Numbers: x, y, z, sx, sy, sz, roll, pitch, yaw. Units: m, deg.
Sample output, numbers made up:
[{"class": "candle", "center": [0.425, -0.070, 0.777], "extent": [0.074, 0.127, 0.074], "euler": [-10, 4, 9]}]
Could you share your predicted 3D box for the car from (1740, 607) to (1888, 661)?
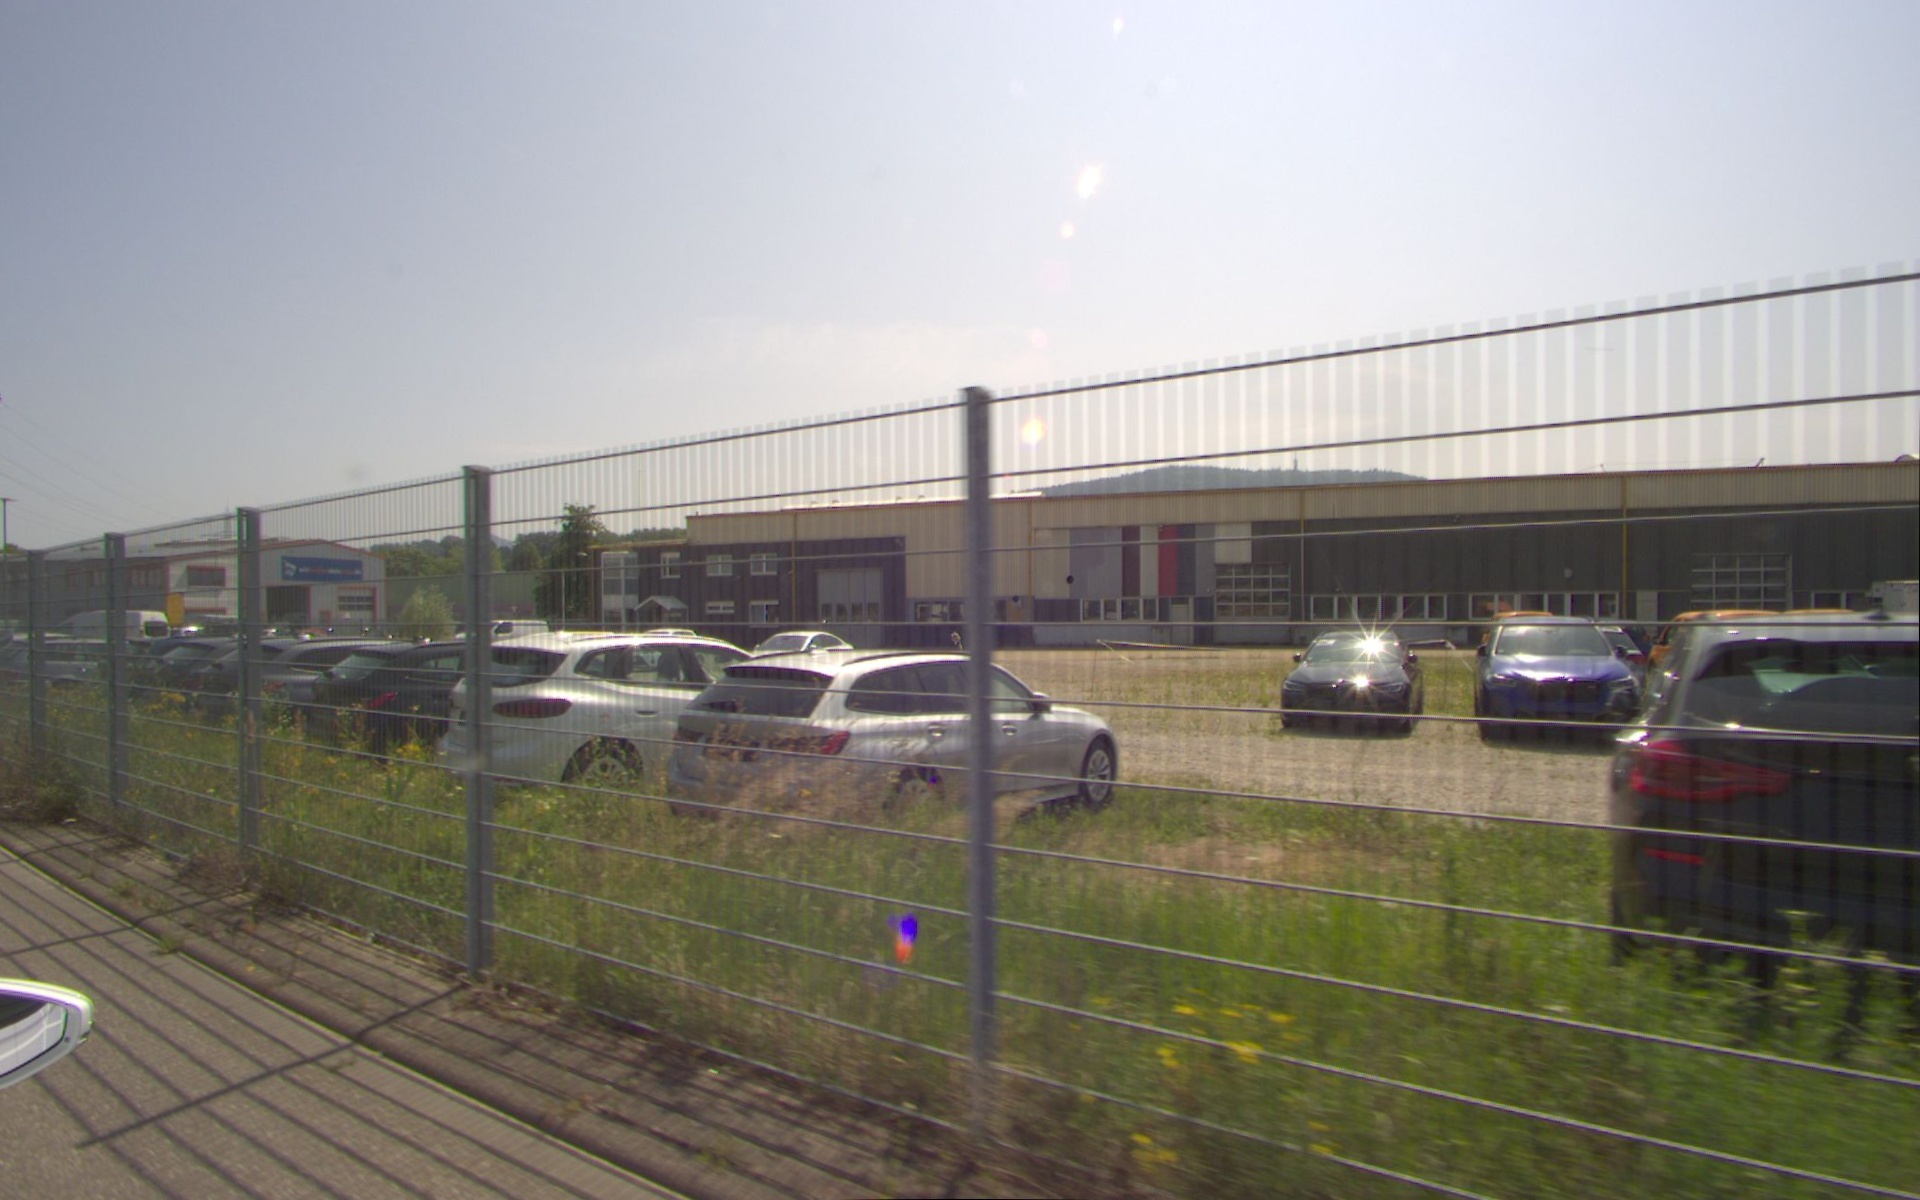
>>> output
[{"class": "car", "center": [26.154, 0.982, 30.885], "extent": [1.938, 1.505, 4.381], "euler": [0, 0, 19]}]

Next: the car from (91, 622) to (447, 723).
[{"class": "car", "center": [-11.176, 1.174, 16.510], "extent": [1.746, 1.423, 4.495], "euler": [-1, -4, 38]}]

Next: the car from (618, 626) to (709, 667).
[{"class": "car", "center": [-11.212, 1.724, 38.149], "extent": [1.508, 1.454, 3.661], "euler": [0, -1, 18]}]

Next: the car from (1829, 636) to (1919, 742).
[{"class": "car", "center": [13.764, 1.232, 13.722], "extent": [1.584, 1.319, 3.764], "euler": [0, 0, 21]}]

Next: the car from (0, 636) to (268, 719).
[{"class": "car", "center": [-16.764, 1.532, 20.305], "extent": [1.615, 1.492, 4.157], "euler": [-1, -4, 33]}]

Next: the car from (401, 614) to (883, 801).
[{"class": "car", "center": [-2.879, 0.964, 9.857], "extent": [1.817, 1.423, 4.194], "euler": [-1, -4, 40]}]

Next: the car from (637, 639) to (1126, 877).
[{"class": "car", "center": [-0.348, 1.098, 8.319], "extent": [1.814, 1.423, 4.202], "euler": [-1, -4, 34]}]

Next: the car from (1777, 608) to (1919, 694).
[{"class": "car", "center": [17.652, 0.917, 19.365], "extent": [1.725, 1.481, 3.820], "euler": [0, 0, 21]}]

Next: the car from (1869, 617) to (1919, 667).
[{"class": "car", "center": [28.601, 1.222, 29.034], "extent": [1.810, 1.396, 4.379], "euler": [0, 0, 21]}]

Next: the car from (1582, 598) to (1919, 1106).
[{"class": "car", "center": [4.369, 0.828, 5.012], "extent": [1.742, 1.659, 4.265], "euler": [1, 0, 37]}]

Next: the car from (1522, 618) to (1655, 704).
[{"class": "car", "center": [12.611, 1.148, 20.316], "extent": [1.561, 1.481, 3.820], "euler": [0, 0, 21]}]

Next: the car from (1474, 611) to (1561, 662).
[{"class": "car", "center": [18.573, 1.167, 33.538], "extent": [1.722, 1.505, 4.381], "euler": [0, 0, 19]}]

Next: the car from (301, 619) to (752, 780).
[{"class": "car", "center": [-4.556, 1.023, 11.061], "extent": [1.817, 1.423, 4.194], "euler": [-1, -4, 40]}]

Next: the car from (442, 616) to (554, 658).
[{"class": "car", "center": [-22.299, 1.728, 48.555], "extent": [1.826, 1.924, 5.064], "euler": [0, -1, 22]}]

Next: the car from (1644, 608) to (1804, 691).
[{"class": "car", "center": [15.383, 0.922, 20.383], "extent": [1.561, 1.481, 3.820], "euler": [0, 0, 21]}]

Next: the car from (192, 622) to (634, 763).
[{"class": "car", "center": [-6.537, 1.079, 12.515], "extent": [1.813, 1.423, 4.501], "euler": [-1, -4, 34]}]

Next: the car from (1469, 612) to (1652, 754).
[{"class": "car", "center": [8.602, 1.050, 14.718], "extent": [1.847, 1.671, 4.460], "euler": [0, 0, 25]}]

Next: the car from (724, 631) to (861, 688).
[{"class": "car", "center": [-4.482, 1.577, 27.570], "extent": [1.599, 1.368, 4.513], "euler": [-1, -1, 22]}]

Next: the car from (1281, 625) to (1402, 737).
[{"class": "car", "center": [6.090, 1.180, 16.021], "extent": [1.584, 1.456, 3.764], "euler": [0, 0, 21]}]

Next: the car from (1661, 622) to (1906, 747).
[{"class": "car", "center": [11.569, 1.085, 14.374], "extent": [1.584, 1.456, 3.764], "euler": [0, 0, 21]}]

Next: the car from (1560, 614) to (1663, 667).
[{"class": "car", "center": [21.078, 1.252, 32.575], "extent": [1.722, 1.505, 4.381], "euler": [0, 0, 19]}]
